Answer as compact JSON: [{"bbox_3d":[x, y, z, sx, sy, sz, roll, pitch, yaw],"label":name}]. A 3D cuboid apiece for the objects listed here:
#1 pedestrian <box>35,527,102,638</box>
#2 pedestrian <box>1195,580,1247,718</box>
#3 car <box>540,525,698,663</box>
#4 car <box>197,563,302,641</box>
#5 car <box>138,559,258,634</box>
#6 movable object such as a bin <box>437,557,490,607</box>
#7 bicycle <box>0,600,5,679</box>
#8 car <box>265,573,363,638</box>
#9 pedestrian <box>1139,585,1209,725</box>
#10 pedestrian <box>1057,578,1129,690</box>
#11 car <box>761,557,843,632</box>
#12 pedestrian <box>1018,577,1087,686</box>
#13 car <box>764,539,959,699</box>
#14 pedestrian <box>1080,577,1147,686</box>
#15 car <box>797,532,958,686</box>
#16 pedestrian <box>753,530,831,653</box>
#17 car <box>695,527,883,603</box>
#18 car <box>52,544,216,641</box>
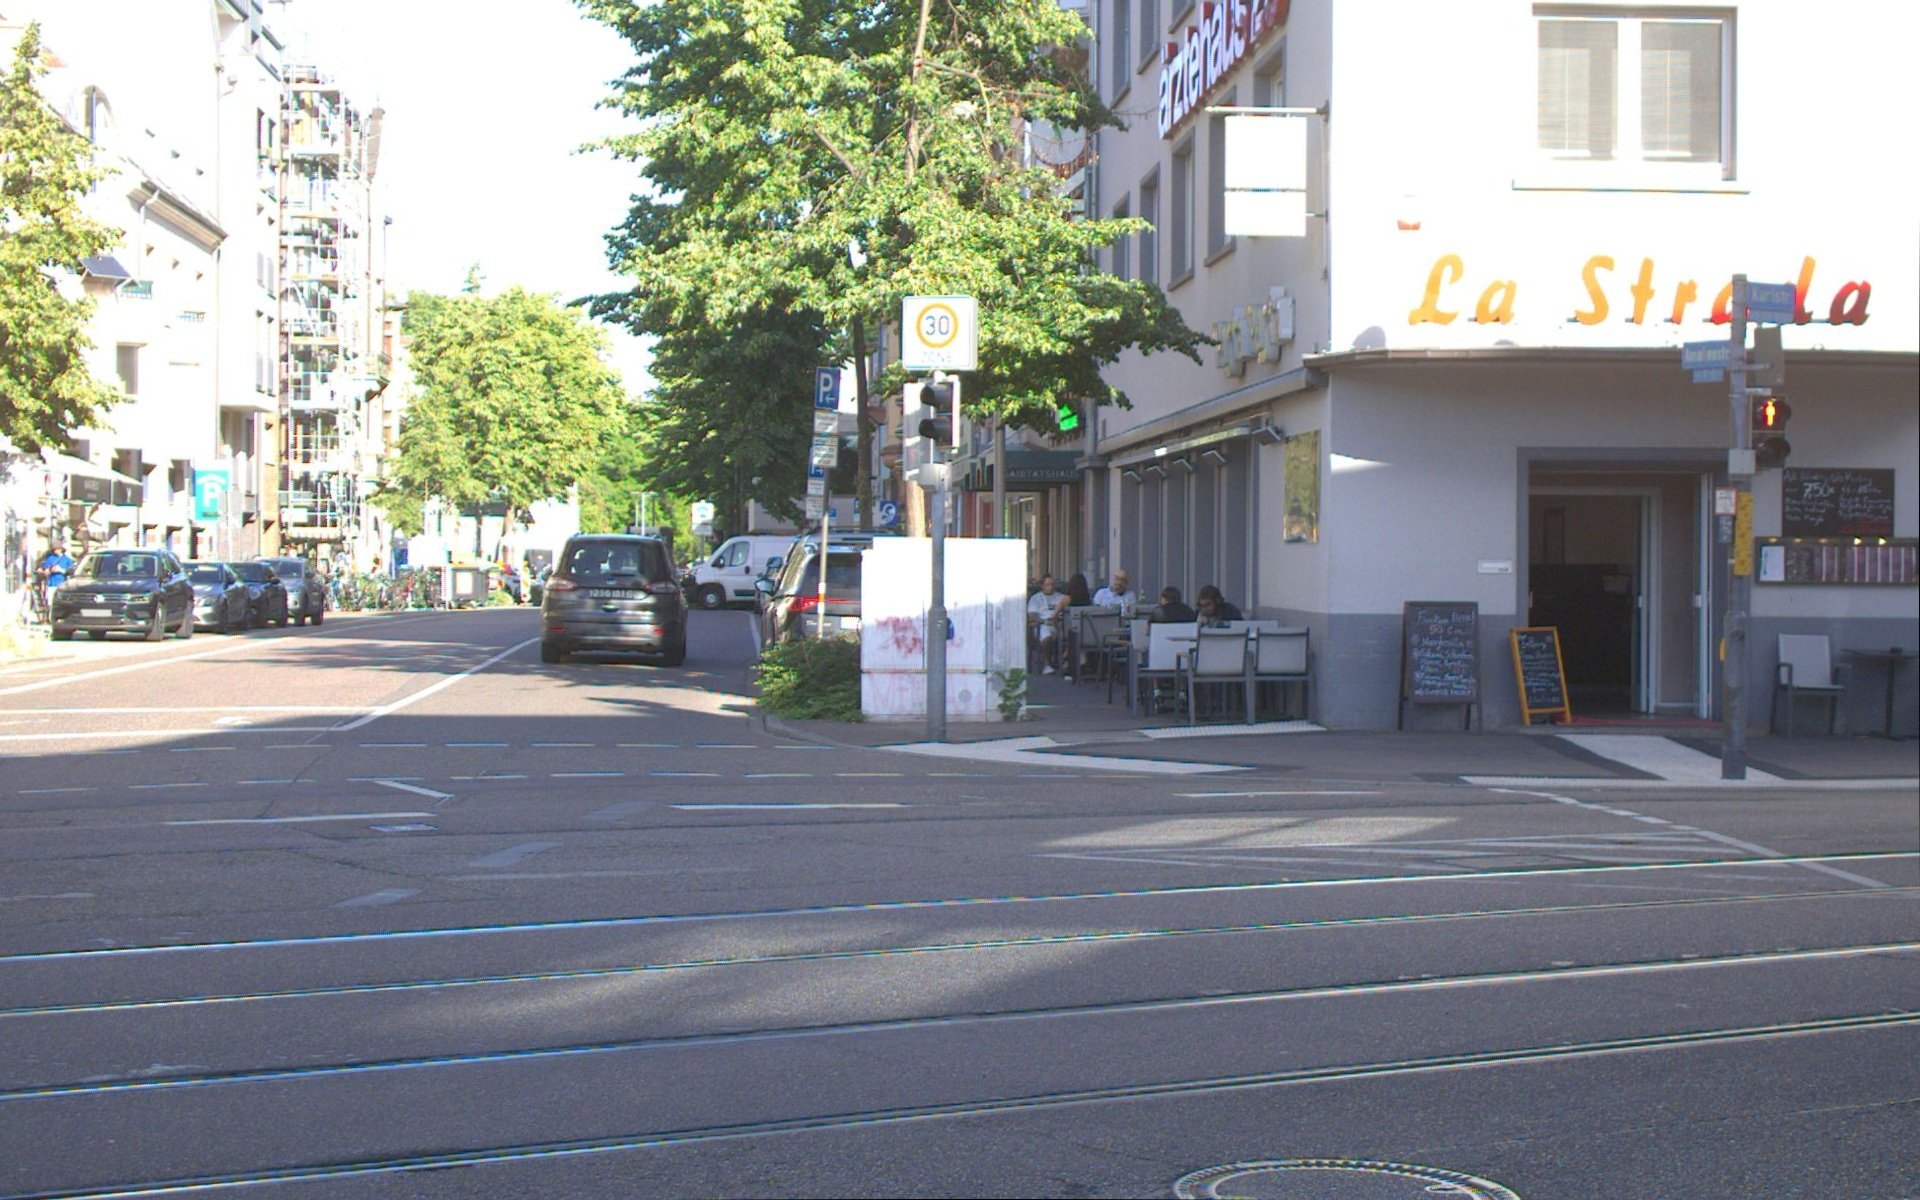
[{"bbox_3d":[-16.572,-0.338,63.911,0.951,2.007,1.090,-2,1,-5],"label":"pedestrian"},{"bbox_3d":[2.527,0.467,33.296,0.488,1.317,0.653,1,0,4],"label":"pedestrian"},{"bbox_3d":[-4.545,-0.101,46.303,1.904,1.727,4.289,1,1,-3],"label":"car"},{"bbox_3d":[-15.126,0.015,73.338,1.718,1.604,3.598,1,1,-4],"label":"car"},{"bbox_3d":[-14.926,-0.090,67.510,1.786,1.398,3.907,1,0,-5],"label":"car"},{"bbox_3d":[-14.287,-0.522,98.926,1.308,1.403,1.071,0,1,-20],"label":"movable object such as a bin"},{"bbox_3d":[-13.388,0.486,43.672,2.396,1.002,0.656,1,0,-14],"label":"bicycle"},{"bbox_3d":[-14.672,0.111,78.220,1.786,1.398,3.907,1,0,-5],"label":"car"},{"bbox_3d":[2.020,0.515,32.490,0.586,1.308,0.560,0,0,-3],"label":"pedestrian"},{"bbox_3d":[1.618,0.405,41.979,0.730,1.343,1.060,0,0,-6],"label":"pedestrian"},{"bbox_3d":[-4.058,-0.157,88.050,1.993,1.818,4.000,2,0,-3],"label":"car"},{"bbox_3d":[1.151,0.384,43.066,0.709,1.343,1.060,0,0,-7],"label":"pedestrian"},{"bbox_3d":[-1.149,0.171,38.011,2.000,1.630,4.289,1,1,-3],"label":"car"},{"bbox_3d":[1.923,0.390,43.266,0.730,1.356,0.959,0,0,-4],"label":"pedestrian"},{"bbox_3d":[-1.121,0.088,44.449,1.904,1.846,4.289,1,1,-3],"label":"car"},{"bbox_3d":[-2.660,-0.139,54.423,0.958,1.909,1.104,1,0,13],"label":"pedestrian"},{"bbox_3d":[-4.972,-1.010,99.628,5.390,2.138,2.000,0,0,-4],"label":"car"},{"bbox_3d":[-14.495,-0.138,60.539,1.993,1.592,4.000,2,0,-2],"label":"car"}]
